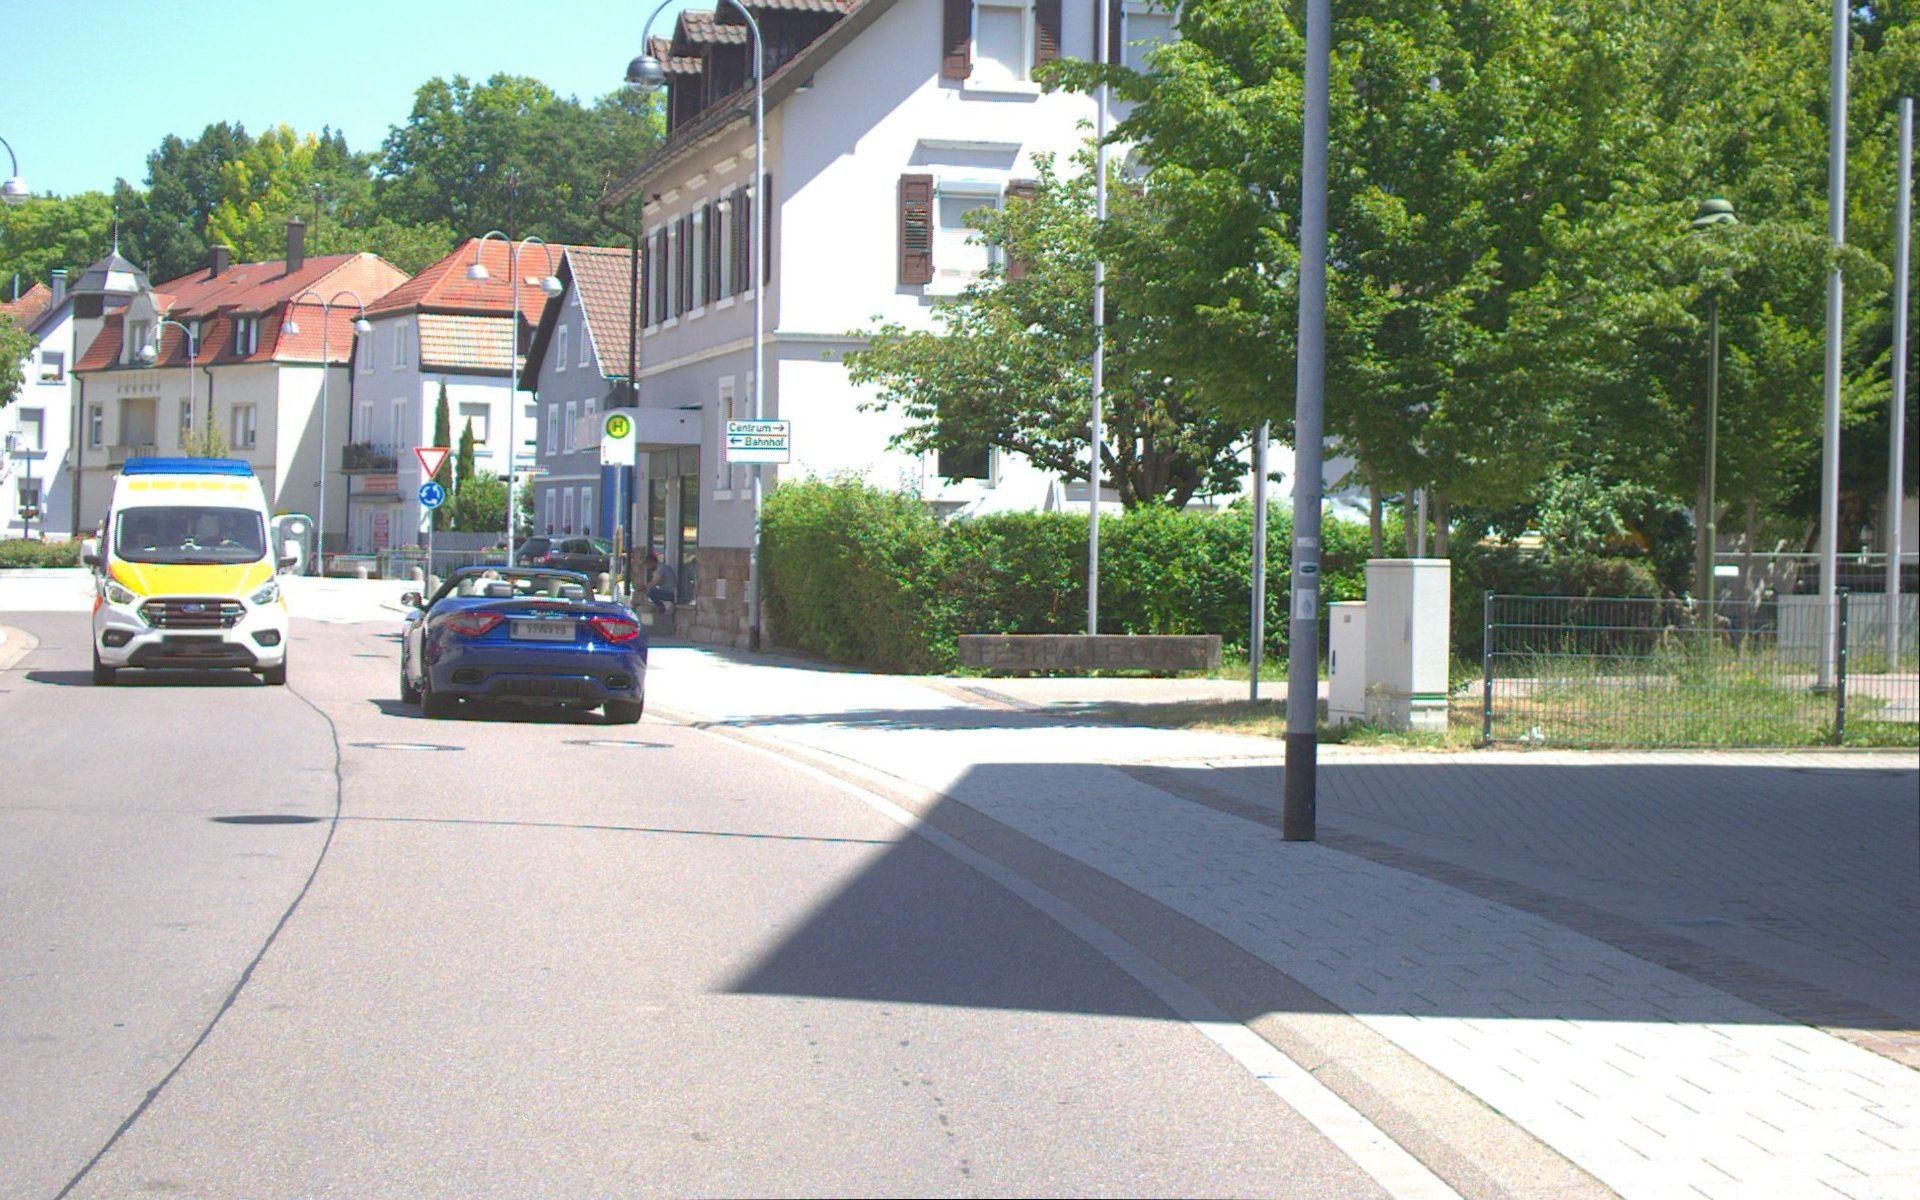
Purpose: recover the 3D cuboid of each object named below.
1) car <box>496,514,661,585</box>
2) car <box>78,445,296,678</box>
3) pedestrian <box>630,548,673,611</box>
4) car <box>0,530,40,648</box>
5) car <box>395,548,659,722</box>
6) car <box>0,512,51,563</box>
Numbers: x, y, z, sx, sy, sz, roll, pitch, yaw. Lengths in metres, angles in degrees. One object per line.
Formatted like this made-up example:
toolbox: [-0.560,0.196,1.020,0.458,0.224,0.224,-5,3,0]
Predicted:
car: [-9.994,-1.326,90.310,3.987,1.744,1.919,2,1,4]
car: [-8.389,-0.439,37.415,2.155,2.354,5.249,0,1,-12]
pedestrian: [-4.991,-0.334,55.599,0.590,0.996,0.724,0,1,-15]
car: [-13.508,-0.228,46.482,1.914,1.476,4.339,4,0,-14]
car: [-3.948,0.266,30.741,1.910,1.356,4.287,2,1,-12]
car: [-26.121,-1.686,91.678,1.994,1.325,4.199,-1,2,-40]
